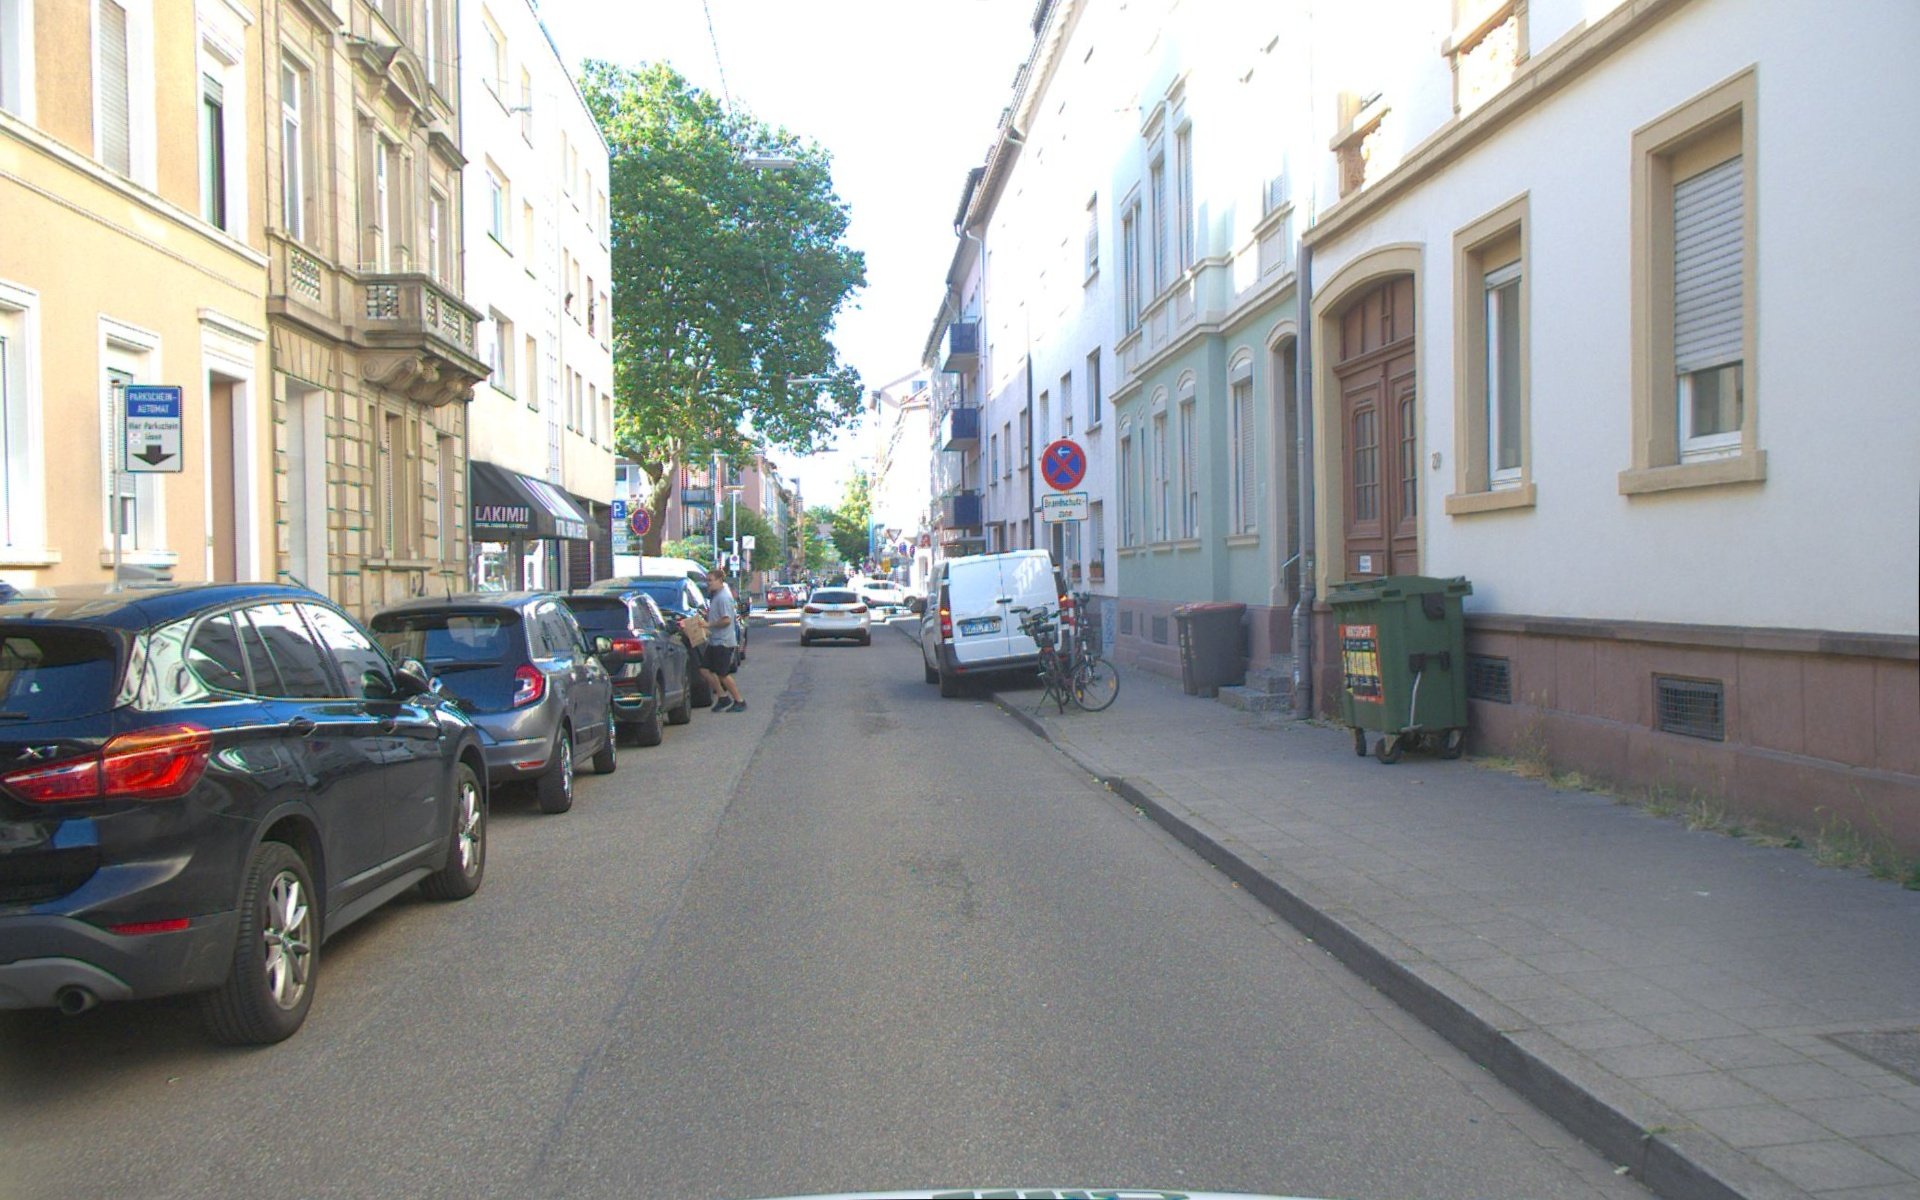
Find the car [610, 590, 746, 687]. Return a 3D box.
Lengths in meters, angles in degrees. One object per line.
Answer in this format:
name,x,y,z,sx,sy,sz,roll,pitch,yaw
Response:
car,-4.820,0.613,28.895,1.809,1.441,4.814,-3,0,-4

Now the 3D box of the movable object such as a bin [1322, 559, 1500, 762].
movable object such as a bin,3.417,0.450,12.662,0.821,1.413,1.295,-4,-1,-5

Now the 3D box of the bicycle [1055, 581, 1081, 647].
bicycle,2.084,0.256,32.032,0.428,1.227,2.267,-2,0,2

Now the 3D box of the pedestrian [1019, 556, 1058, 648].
pedestrian,1.523,0.041,32.041,0.641,1.741,0.687,-2,0,8

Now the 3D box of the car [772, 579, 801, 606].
car,-11.425,-0.518,109.186,1.686,1.712,3.723,-2,0,-4

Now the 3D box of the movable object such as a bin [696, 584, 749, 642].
movable object such as a bin,-6.537,0.350,45.590,1.308,1.510,1.092,-3,0,-5

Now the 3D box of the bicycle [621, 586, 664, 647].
bicycle,-7.278,0.391,38.029,0.456,1.355,1.855,2,-1,4

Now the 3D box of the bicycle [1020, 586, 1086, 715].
bicycle,1.038,0.531,18.908,0.563,1.343,2.199,-2,1,-1

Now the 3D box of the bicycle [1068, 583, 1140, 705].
bicycle,1.653,0.475,19.279,0.563,1.293,2.199,-3,1,0

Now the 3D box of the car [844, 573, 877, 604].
car,-6.483,-0.740,107.192,1.905,1.982,4.072,0,1,-7

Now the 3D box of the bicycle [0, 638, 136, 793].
bicycle,-7.021,0.863,12.956,0.394,1.074,1.834,-2,0,-7

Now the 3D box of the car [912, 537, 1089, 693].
car,0.464,0.157,24.836,1.945,1.916,5.594,-5,1,-4

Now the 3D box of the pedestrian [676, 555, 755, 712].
pedestrian,-2.999,0.398,20.357,0.849,1.868,0.883,-2,0,-5

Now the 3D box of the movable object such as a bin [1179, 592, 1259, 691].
movable object such as a bin,3.002,0.474,19.240,0.781,1.115,0.641,-2,0,-2

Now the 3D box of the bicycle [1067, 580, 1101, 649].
bicycle,2.299,0.253,30.710,0.397,1.227,2.159,-2,0,-1

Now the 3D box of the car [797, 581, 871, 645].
car,-3.273,0.298,42.852,1.788,1.540,3.820,-2,1,-5

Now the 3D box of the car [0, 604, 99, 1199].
car,-2.634,0.848,1.267,1.681,1.514,4.847,-4,1,-5

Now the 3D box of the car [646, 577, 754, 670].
car,-5.298,0.419,34.251,1.747,1.695,4.666,-3,1,-4

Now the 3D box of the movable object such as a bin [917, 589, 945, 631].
movable object such as a bin,-0.792,0.266,44.732,0.718,1.099,0.703,-2,0,-3

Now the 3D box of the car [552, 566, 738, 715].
car,-4.259,0.470,23.128,1.898,1.766,5.138,-2,1,-4

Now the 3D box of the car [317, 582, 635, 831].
car,-3.569,0.674,12.874,1.584,1.581,3.974,-2,1,-5

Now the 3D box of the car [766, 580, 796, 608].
car,-11.199,-0.416,103.592,1.735,1.616,3.723,-2,2,-5

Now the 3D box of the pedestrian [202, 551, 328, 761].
pedestrian,-5.947,0.452,14.200,0.749,1.744,0.882,0,1,-5

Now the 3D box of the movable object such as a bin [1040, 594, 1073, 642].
movable object such as a bin,2.003,0.364,34.389,0.566,0.940,0.607,-4,1,-4

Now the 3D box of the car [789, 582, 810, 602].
car,-13.166,-0.637,135.730,1.541,1.613,3.608,-2,0,-4

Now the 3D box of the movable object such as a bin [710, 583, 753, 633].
movable object such as a bin,-7.014,0.240,50.903,1.276,1.476,1.115,-1,0,-8

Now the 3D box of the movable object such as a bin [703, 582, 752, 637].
movable object such as a bin,-6.681,0.272,47.664,1.317,1.525,1.017,-1,0,-5

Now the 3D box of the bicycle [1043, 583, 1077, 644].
bicycle,1.993,0.266,33.117,0.557,1.173,1.868,-2,0,0

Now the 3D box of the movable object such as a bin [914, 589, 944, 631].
movable object such as a bin,-0.851,0.273,45.442,0.752,1.105,0.692,-2,0,-3

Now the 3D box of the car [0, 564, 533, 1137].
car,-3.197,0.712,7.095,1.710,1.643,4.600,-3,1,-3

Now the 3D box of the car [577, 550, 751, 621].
car,-11.859,-0.576,66.693,6.604,2.599,2.144,2,0,-3

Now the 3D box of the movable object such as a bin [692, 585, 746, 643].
movable object such as a bin,-6.455,0.375,44.420,1.294,1.476,1.186,-3,0,-5

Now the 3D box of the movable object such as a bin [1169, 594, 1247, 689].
movable object such as a bin,2.977,0.491,19.911,0.796,1.107,0.673,-2,0,-2

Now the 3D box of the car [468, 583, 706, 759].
car,-3.815,0.637,17.632,1.679,1.558,4.365,-2,1,-3

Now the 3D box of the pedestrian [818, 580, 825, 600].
pedestrian,-12.807,-0.901,153.178,0.634,1.828,0.639,-2,0,-4
